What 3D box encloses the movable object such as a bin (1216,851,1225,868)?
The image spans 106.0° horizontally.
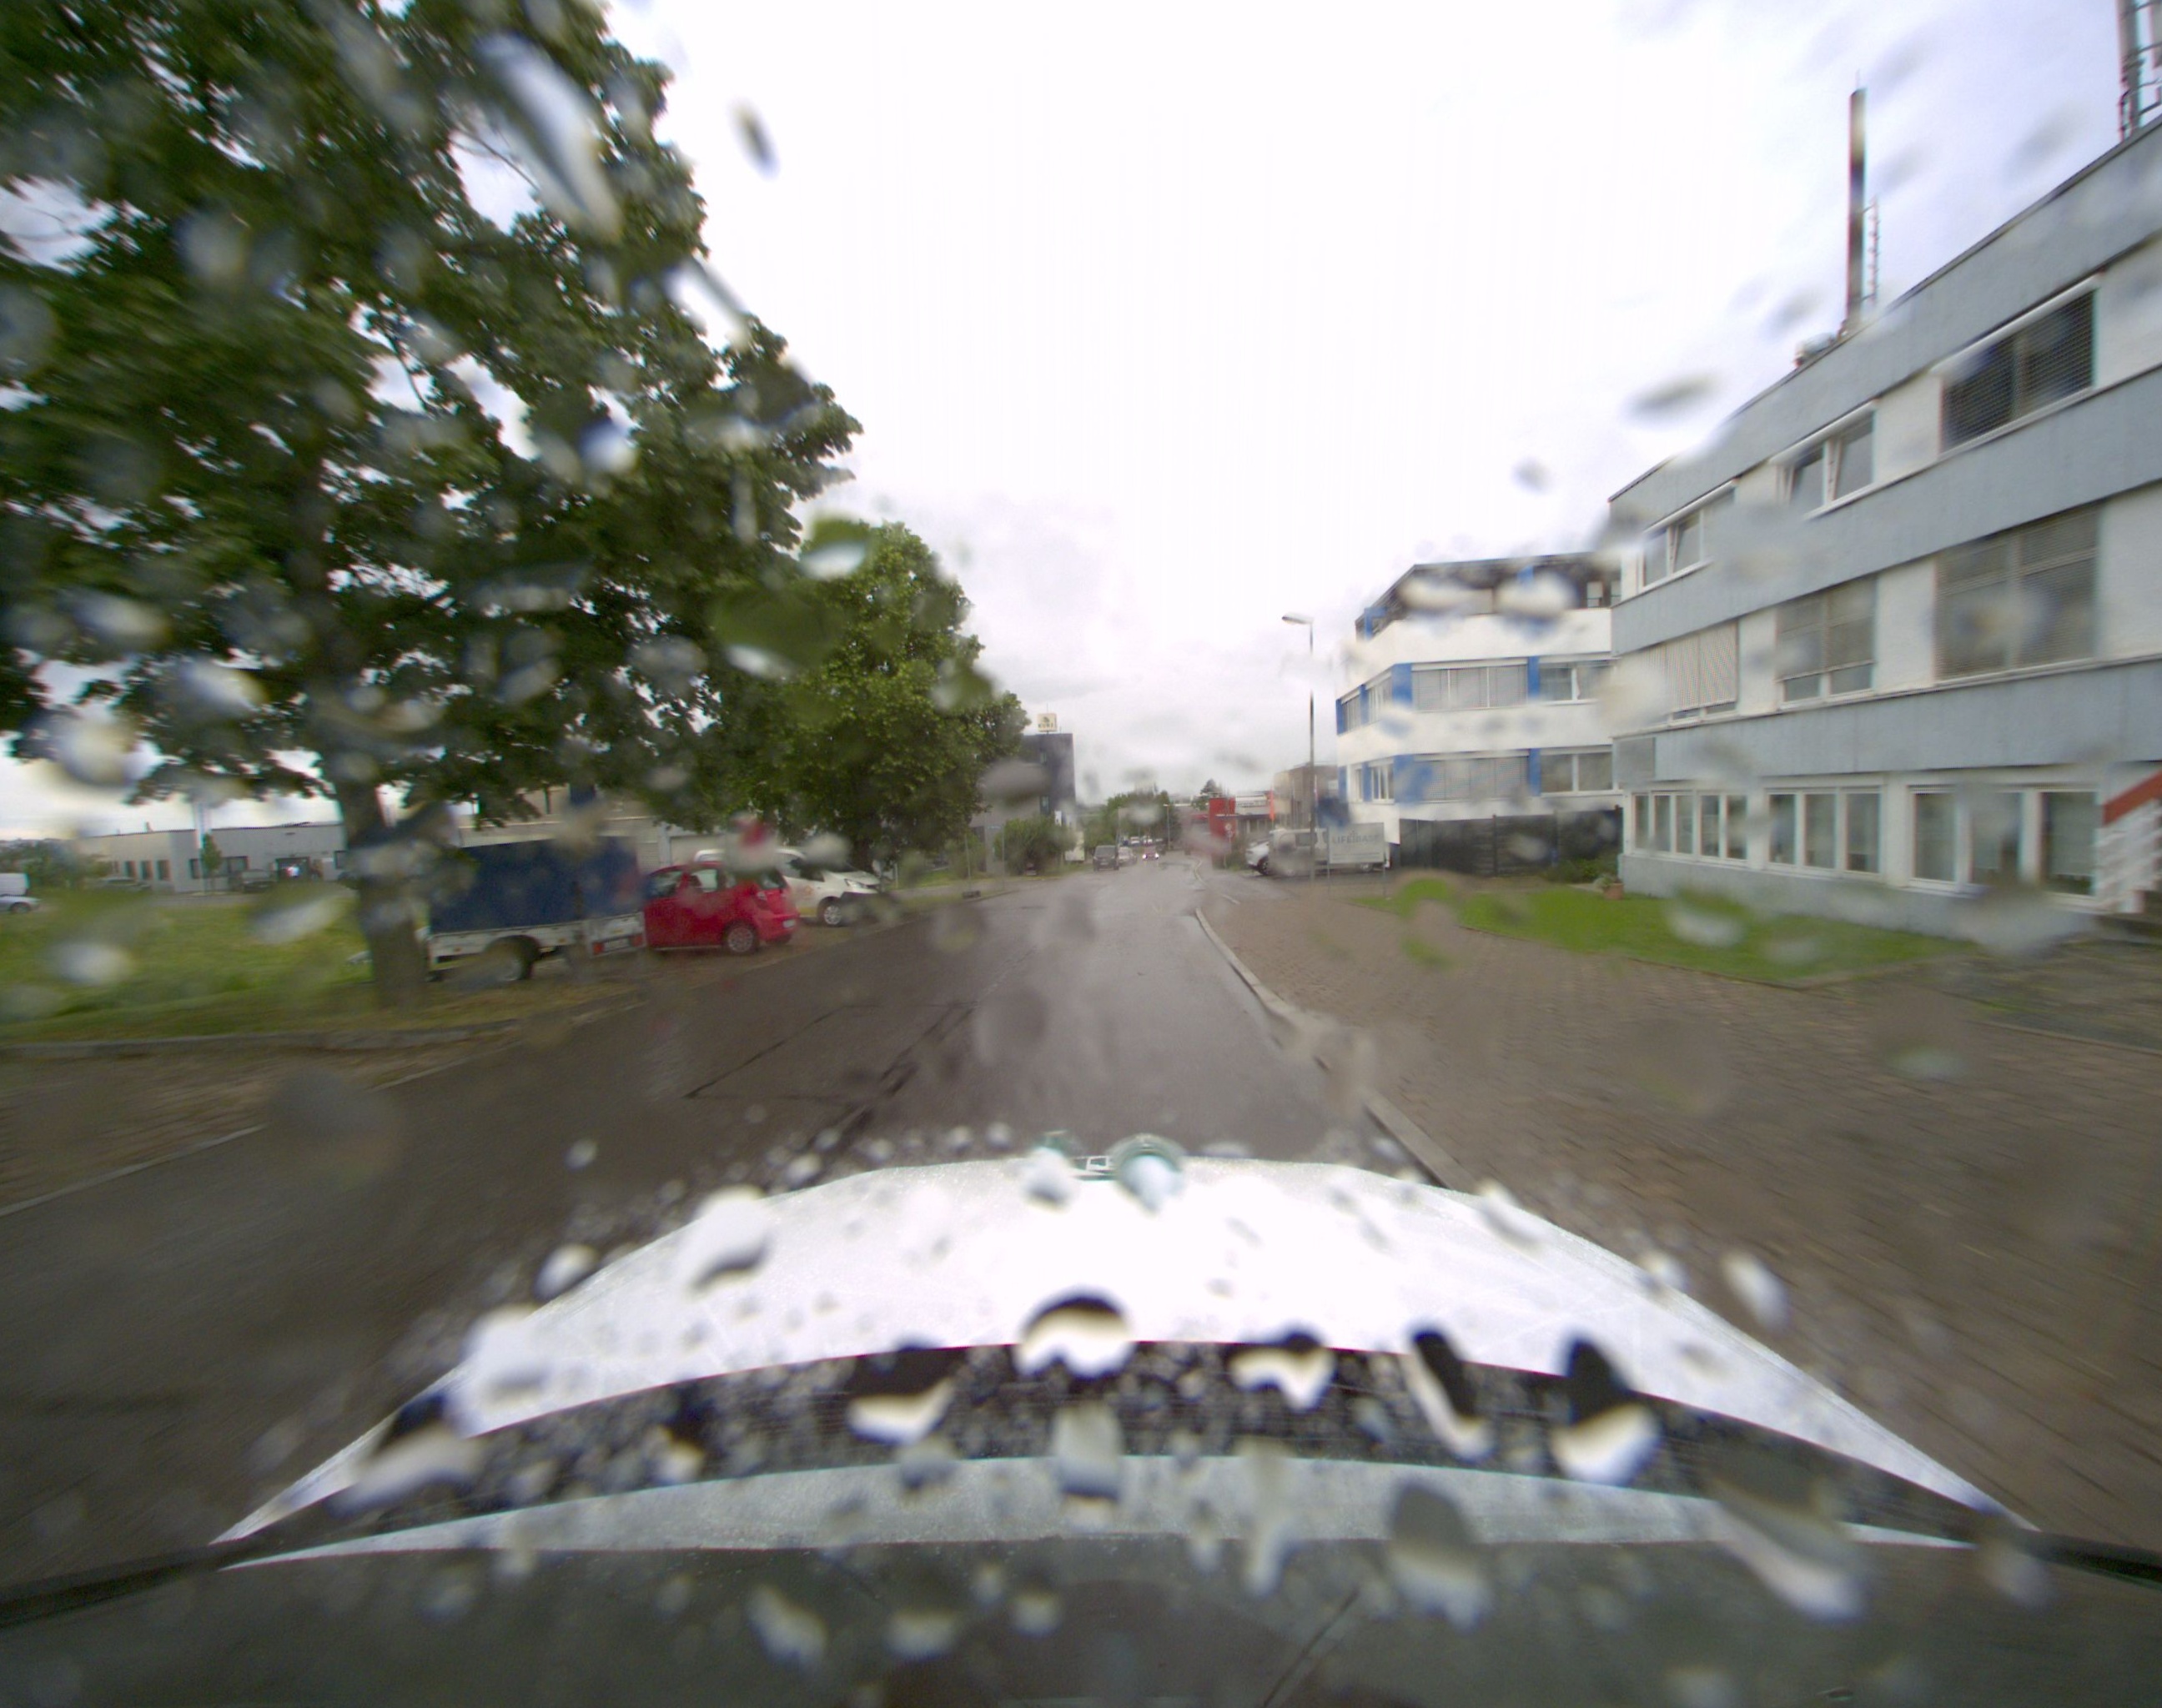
[{"bbox_3d":[8.538,0.335,49.938,0.469,0.967,0.515,-3,0,8],"label":"movable object such as a bin"}]

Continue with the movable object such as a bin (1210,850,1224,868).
[{"bbox_3d":[8.055,0.279,48.376,0.767,1.030,0.810,-3,0,8],"label":"movable object such as a bin"}]

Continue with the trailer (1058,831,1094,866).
[{"bbox_3d":[-0.608,-0.709,104.337,4.134,4.203,2.018,-4,0,45],"label":"trailer"}]

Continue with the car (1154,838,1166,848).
[{"bbox_3d":[18.220,-2.516,188.218,2.139,2.013,3.939,-3,-1,0],"label":"car"}]

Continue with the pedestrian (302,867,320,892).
[{"bbox_3d":[-62.361,2.073,65.954,0.651,2.004,0.870,-3,0,34],"label":"pedestrian"}]

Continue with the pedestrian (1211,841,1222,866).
[{"bbox_3d":[9.536,-0.034,57.319,0.732,1.767,0.810,-3,0,8],"label":"pedestrian"}]

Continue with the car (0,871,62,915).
[{"bbox_3d":[-89.881,3.371,67.215,2.511,3.424,6.774,-5,0,32],"label":"car"}]

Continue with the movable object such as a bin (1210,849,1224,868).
[{"bbox_3d":[8.194,0.279,49.101,0.739,1.066,0.638,-3,0,8],"label":"movable object such as a bin"}]

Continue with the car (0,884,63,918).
[{"bbox_3d":[-60.504,2.738,45.227,2.261,1.648,4.649,-5,0,31],"label":"car"}]

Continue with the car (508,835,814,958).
[{"bbox_3d":[-6.967,0.682,13.810,4.181,1.721,1.755,-3,-1,0],"label":"car"}]

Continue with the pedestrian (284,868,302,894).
[{"bbox_3d":[-63.071,2.140,65.169,0.638,2.013,0.857,-3,0,35],"label":"pedestrian"}]

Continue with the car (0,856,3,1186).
[{"bbox_3d":[-7.579,0.845,3.172,4.597,1.590,1.808,-1,0,4],"label":"car"}]

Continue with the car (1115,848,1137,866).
[{"bbox_3d":[4.543,0.301,81.805,1.948,1.577,4.847,-4,-1,5],"label":"car"}]

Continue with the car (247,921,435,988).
[{"bbox_3d":[-21.675,2.908,24.042,1.545,1.446,3.726,-3,0,21],"label":"car"}]

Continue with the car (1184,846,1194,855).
[{"bbox_3d":[20.174,-0.597,151.783,1.688,1.475,4.007,-3,-1,6],"label":"car"}]

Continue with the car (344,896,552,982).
[{"bbox_3d":[-19.088,2.504,24.816,1.975,1.752,4.411,-4,4,26],"label":"car"}]

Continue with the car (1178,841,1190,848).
[{"bbox_3d":[21.978,-2.125,173.924,2.539,1.352,1.242,-3,0,1],"label":"car"}]

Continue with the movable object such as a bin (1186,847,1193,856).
[{"bbox_3d":[14.832,-0.347,111.672,0.803,1.092,0.709,-4,0,1],"label":"movable object such as a bin"}]

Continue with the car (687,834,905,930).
[{"bbox_3d":[-6.507,0.636,18.832,4.274,1.906,1.867,-3,-1,9],"label":"car"}]

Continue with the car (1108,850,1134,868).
[{"bbox_3d":[3.748,0.435,75.464,1.946,1.461,5.257,-3,0,7],"label":"car"}]

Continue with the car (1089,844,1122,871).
[{"bbox_3d":[1.888,0.245,60.908,1.905,1.831,4.858,-3,0,8],"label":"car"}]

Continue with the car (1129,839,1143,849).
[{"bbox_3d":[12.686,-2.213,187.334,2.264,2.013,3.987,-3,-1,-9],"label":"car"}]

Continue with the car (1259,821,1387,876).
[{"bbox_3d":[9.181,-0.214,31.214,4.320,1.773,2.092,-4,0,4],"label":"car"}]

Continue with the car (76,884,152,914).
[{"bbox_3d":[-66.611,3.069,56.096,4.659,1.854,2.295,-2,2,27],"label":"car"}]

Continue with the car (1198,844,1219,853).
[{"bbox_3d":[20.921,-0.891,133.814,3.381,1.163,1.796,-3,0,8],"label":"car"}]

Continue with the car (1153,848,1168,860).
[{"bbox_3d":[12.150,-0.024,124.216,1.948,1.675,4.476,-3,-1,3],"label":"car"}]

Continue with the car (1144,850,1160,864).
[{"bbox_3d":[8.694,0.425,100.062,1.740,1.508,3.939,-5,-1,4],"label":"car"}]

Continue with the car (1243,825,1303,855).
[{"bbox_3d":[18.942,-1.364,80.539,5.272,2.013,2.226,-11,-1,6],"label":"car"}]

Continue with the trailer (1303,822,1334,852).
[{"bbox_3d":[20.354,-1.474,69.967,1.876,2.416,4.318,-3,1,8],"label":"trailer"}]

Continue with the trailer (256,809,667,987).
[{"bbox_3d":[-8.188,0.562,11.015,4.194,1.984,1.776,-3,-1,3],"label":"trailer"}]

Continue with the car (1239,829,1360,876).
[{"bbox_3d":[9.131,-0.065,34.324,4.574,1.538,2.083,-5,0,6],"label":"car"}]

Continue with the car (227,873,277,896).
[{"bbox_3d":[-63.311,2.343,62.160,3.948,1.618,1.823,-3,0,32],"label":"car"}]

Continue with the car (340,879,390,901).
[{"bbox_3d":[-59.428,2.961,67.587,3.948,1.618,2.013,-3,0,32],"label":"car"}]

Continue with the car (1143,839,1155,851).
[{"bbox_3d":[15.727,-2.052,187.462,2.187,2.459,3.997,-3,-1,-2],"label":"car"}]
